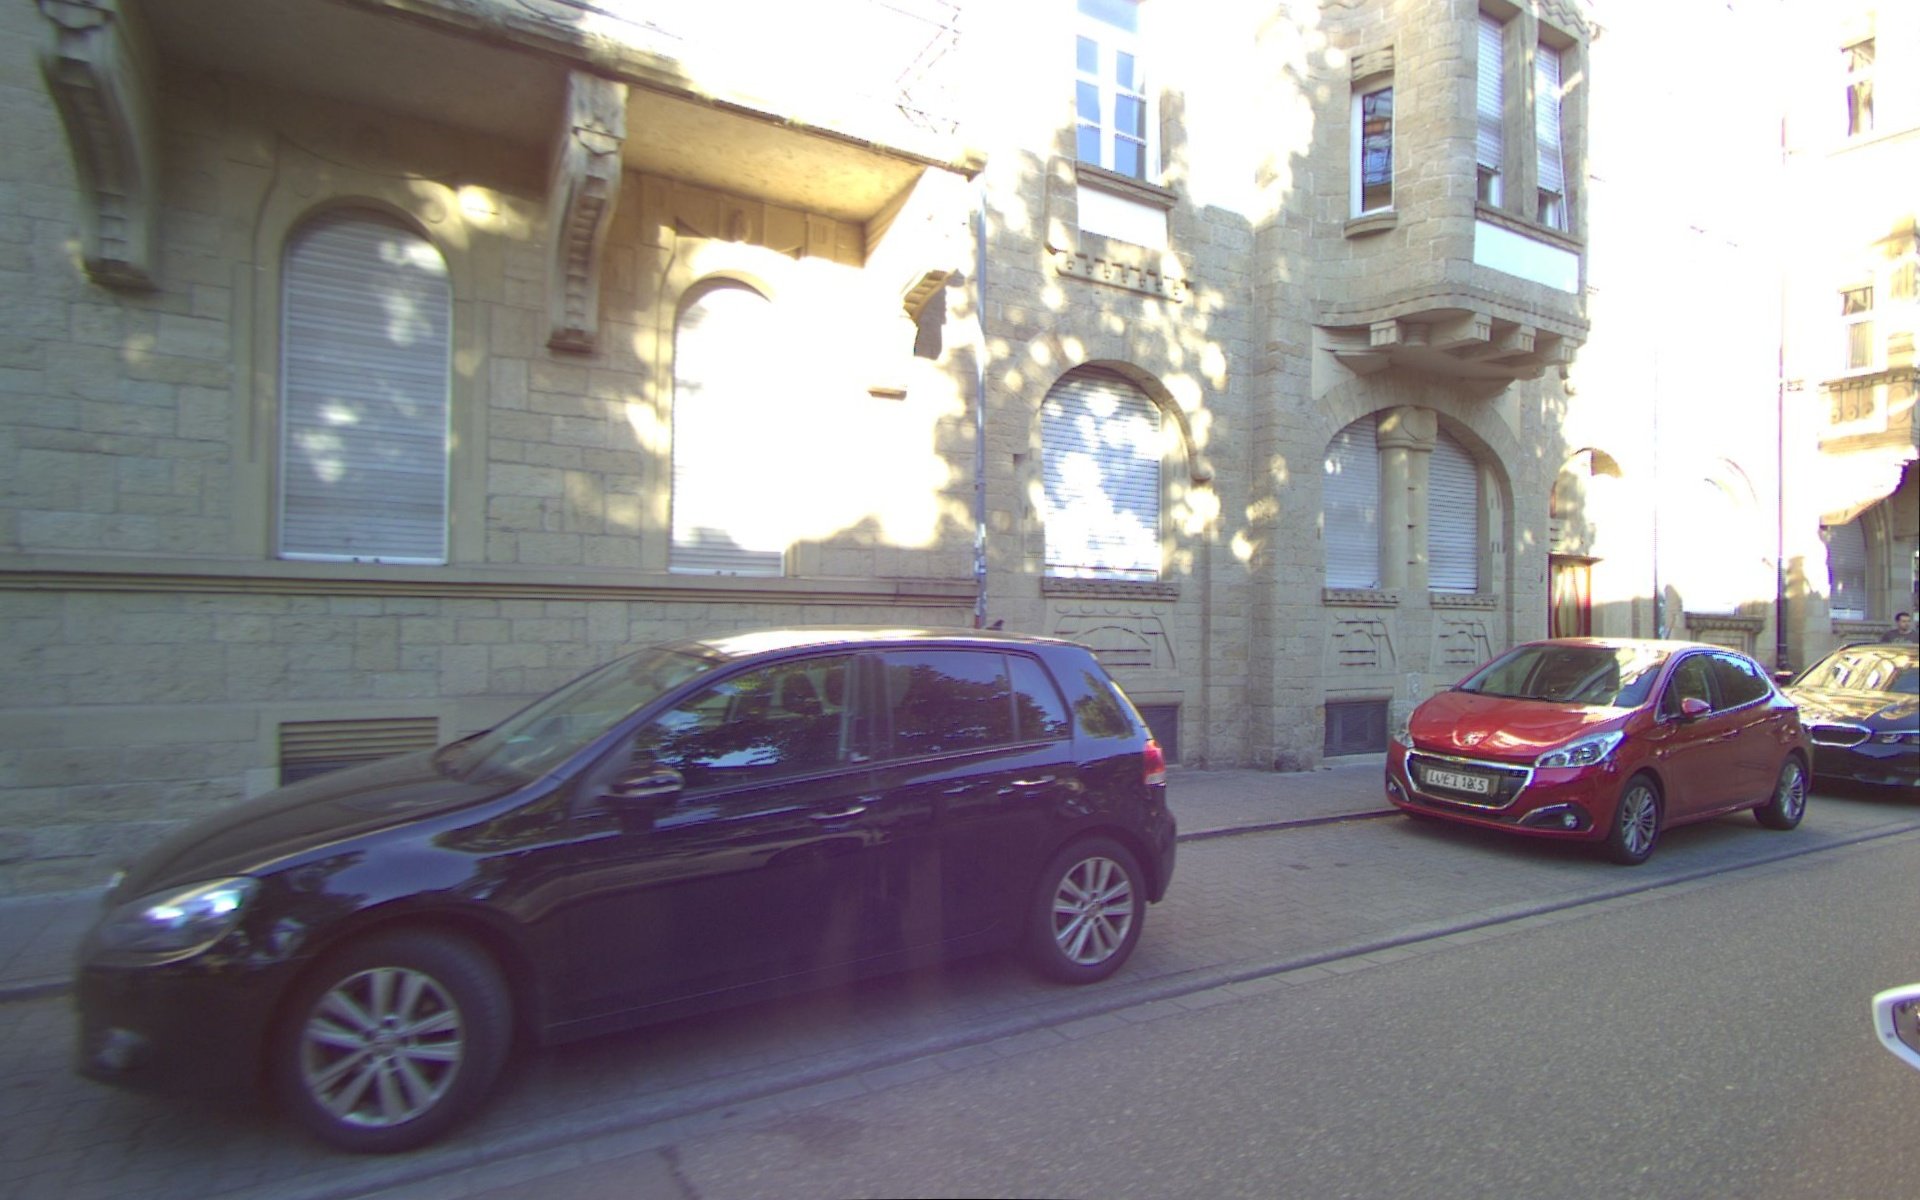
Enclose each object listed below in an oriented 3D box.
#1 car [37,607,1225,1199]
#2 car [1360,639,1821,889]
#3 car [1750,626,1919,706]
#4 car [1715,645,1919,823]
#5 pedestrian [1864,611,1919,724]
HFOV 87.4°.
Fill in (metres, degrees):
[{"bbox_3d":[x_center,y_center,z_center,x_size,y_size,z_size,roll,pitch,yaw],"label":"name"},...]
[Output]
[{"bbox_3d":[-0.936,0.840,4.197,3.983,1.472,1.687,2,-2,-32],"label":"car"},{"bbox_3d":[5.032,1.074,7.891,3.796,1.472,1.620,1,-1,-33],"label":"car"},{"bbox_3d":[20.913,1.466,22.975,1.699,1.690,4.178,1,-1,-31],"label":"car"},{"bbox_3d":[10.031,1.257,10.582,4.496,1.449,1.668,1,1,-30],"label":"car"},{"bbox_3d":[15.178,1.066,16.025,0.726,1.765,0.934,2,-1,-29],"label":"pedestrian"}]
